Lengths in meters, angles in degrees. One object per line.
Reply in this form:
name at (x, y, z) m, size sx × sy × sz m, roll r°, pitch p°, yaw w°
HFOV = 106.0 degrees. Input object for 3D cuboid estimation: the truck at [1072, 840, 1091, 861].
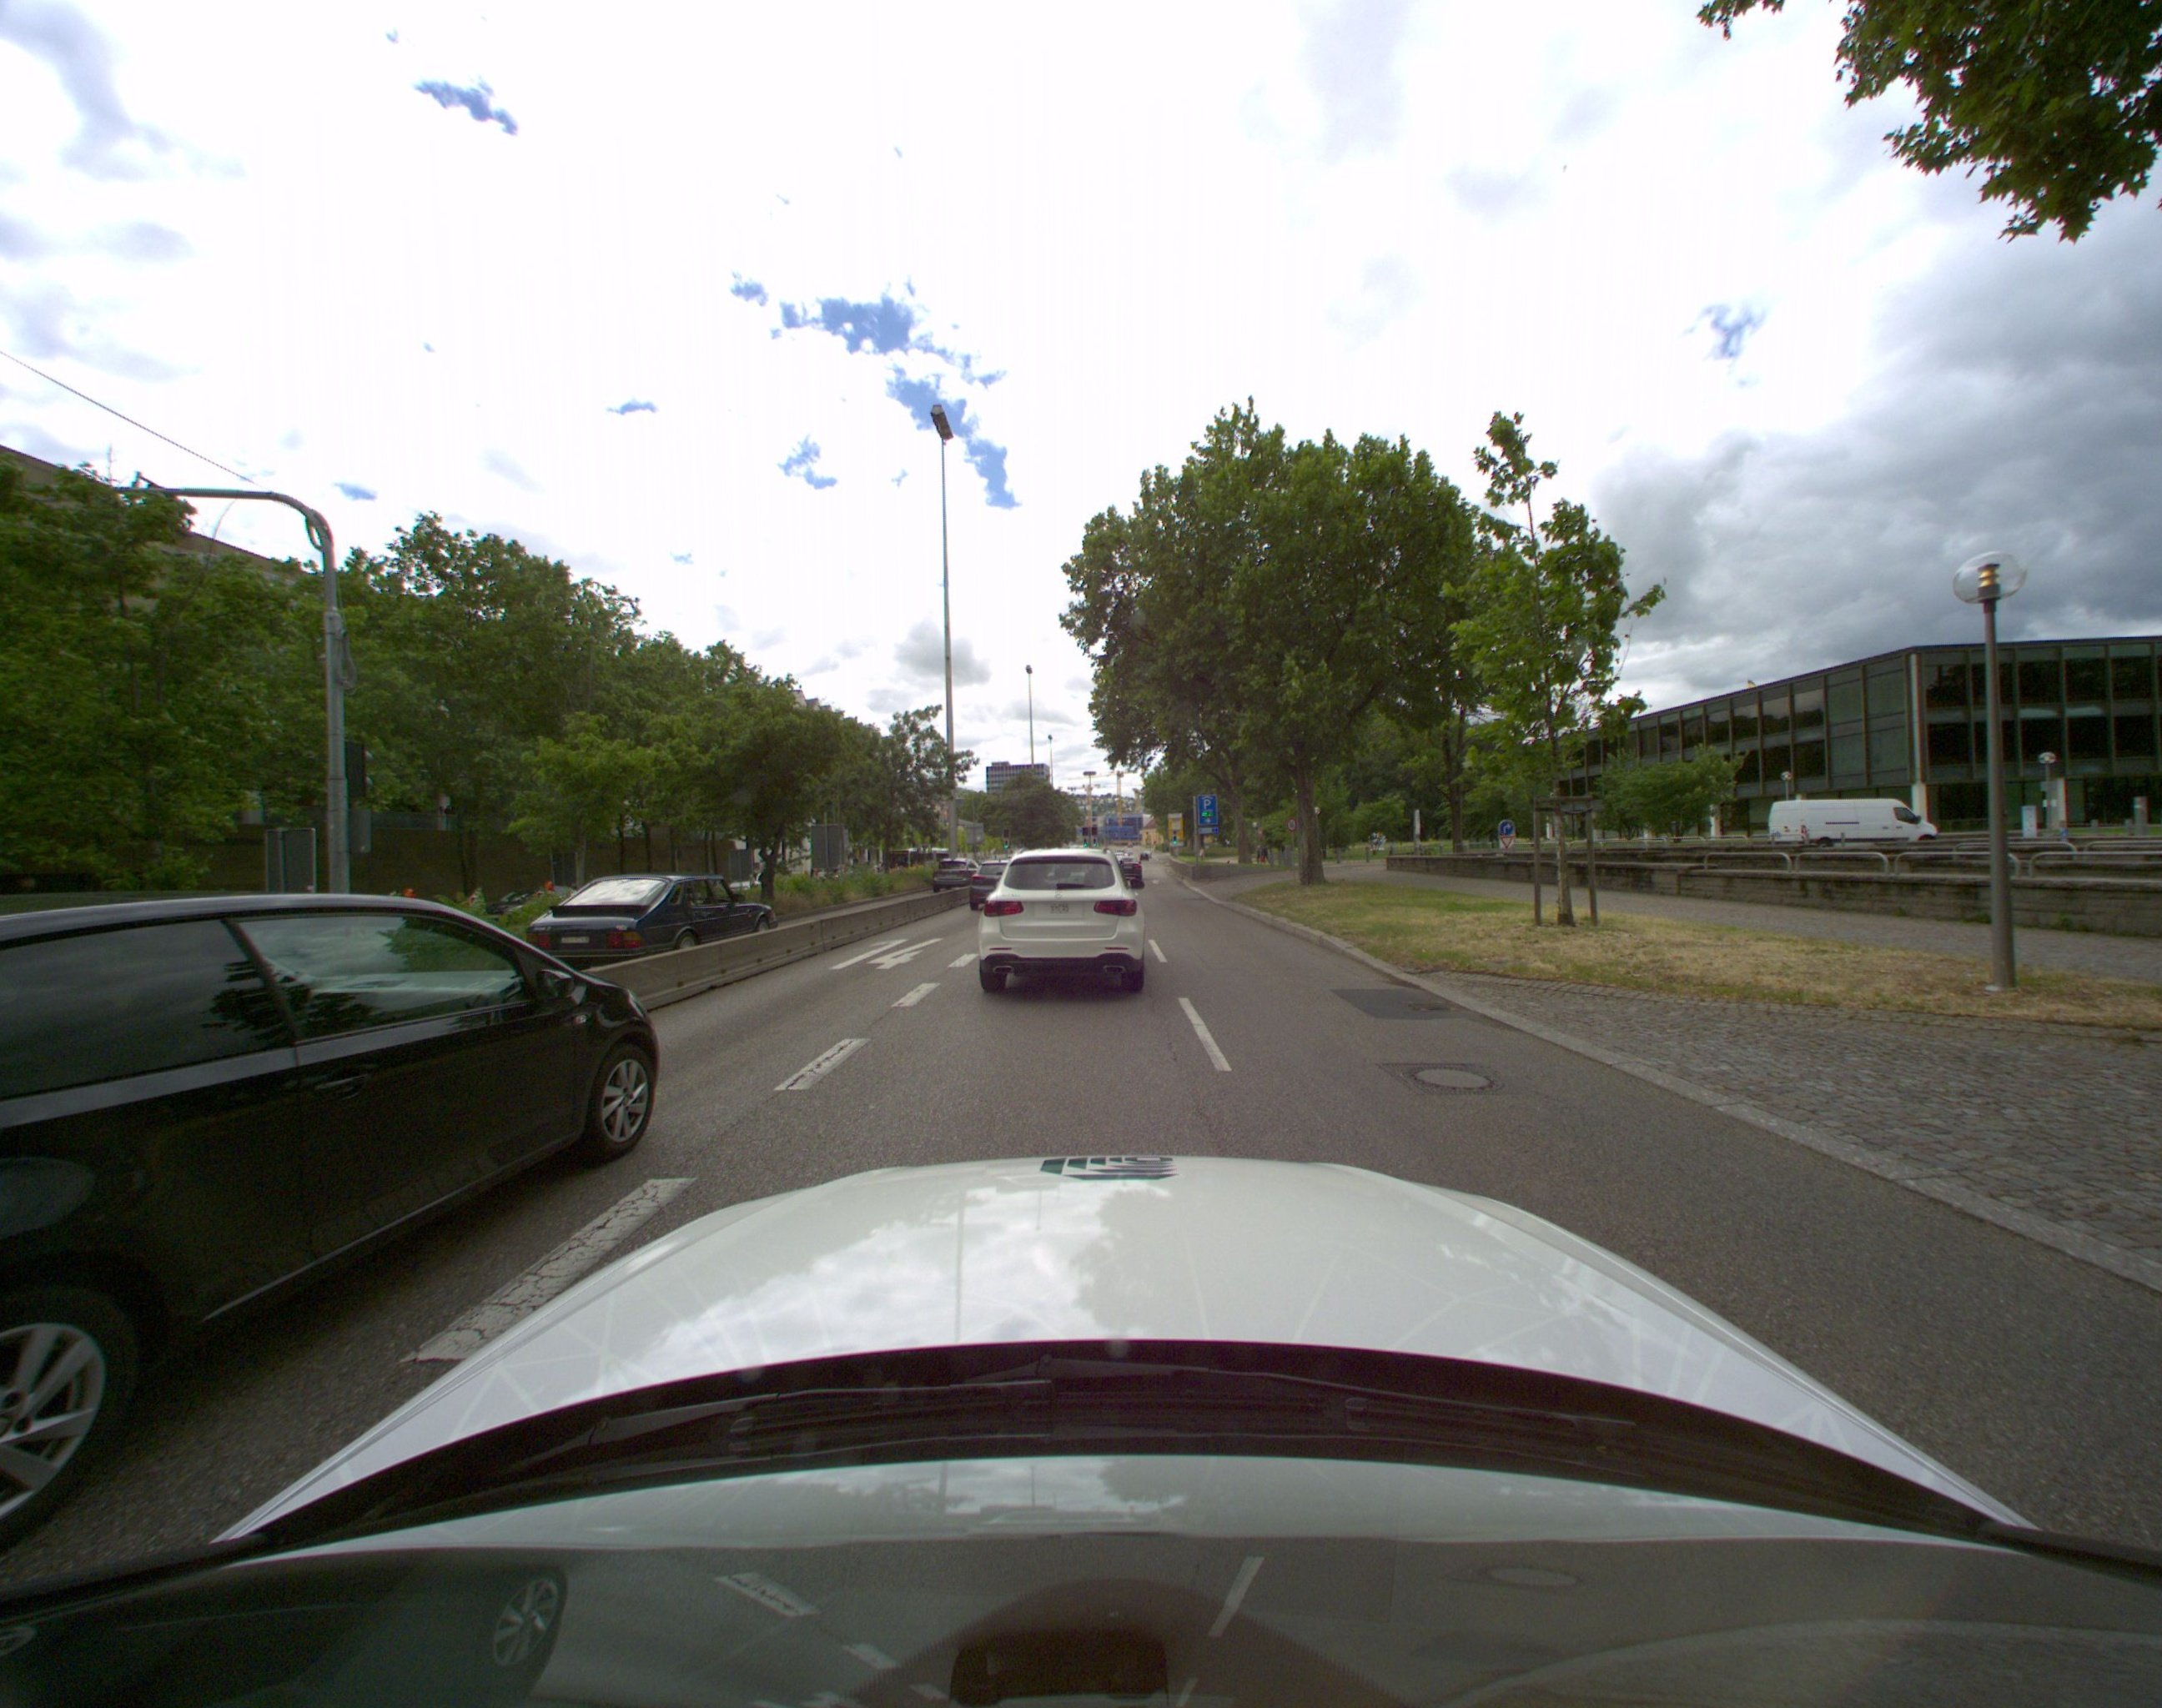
truck at (0.099, -0.511, 116.035) m, size 2.612 × 2.861 × 7.079 m, roll -1°, pitch 0°, yaw 1°

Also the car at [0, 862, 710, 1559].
car at (-3.097, 0.805, 3.063) m, size 1.602 × 1.473 × 3.624 m, roll -2°, pitch 0°, yaw 2°

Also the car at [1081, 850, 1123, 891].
car at (0.852, 0.679, 35.400) m, size 1.654 × 1.639 × 3.546 m, roll -2°, pitch 0°, yaw -1°

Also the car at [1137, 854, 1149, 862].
car at (11.041, 0.655, 145.732) m, size 1.939 × 1.428 × 4.019 m, roll -1°, pitch 0°, yaw 3°

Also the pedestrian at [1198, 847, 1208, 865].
pedestrian at (13.680, 0.225, 91.413) m, size 0.752 × 2.013 × 0.703 m, roll -2°, pitch 0°, yaw 38°

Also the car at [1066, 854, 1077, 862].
car at (-1.724, 0.685, 143.627) m, size 1.652 × 1.319 × 3.550 m, roll -1°, pitch 0°, yaw 3°

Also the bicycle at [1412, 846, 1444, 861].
bicycle at (22.396, -0.027, 52.678) m, size 0.950 × 0.975 × 2.788 m, roll 0°, pitch -1°, yaw 1°

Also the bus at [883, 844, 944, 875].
bus at (-19.370, 0.547, 95.278) m, size 3.653 × 3.205 × 14.279 m, roll -2°, pitch 0°, yaw 2°

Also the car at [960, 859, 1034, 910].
car at (-2.508, 0.884, 25.203) m, size 1.792 × 1.437 × 4.020 m, roll -1°, pitch 0°, yaw 0°

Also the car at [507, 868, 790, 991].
car at (-6.066, 0.954, 12.158) m, size 1.672 × 1.367 × 4.544 m, roll -2°, pitch 0°, yaw 1°

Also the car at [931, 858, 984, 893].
car at (-5.434, 0.914, 36.349) m, size 1.655 × 1.436 × 3.961 m, roll -1°, pitch -1°, yaw 1°

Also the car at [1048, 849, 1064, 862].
car at (-3.128, 0.168, 102.705) m, size 1.652 × 1.513 × 3.549 m, roll -2°, pitch 0°, yaw 2°

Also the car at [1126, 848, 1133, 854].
car at (13.663, -0.738, 229.076) m, size 1.752 × 1.669 × 4.170 m, roll -2°, pitch 0°, yaw 2°

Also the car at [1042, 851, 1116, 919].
car at (-0.127, 0.778, 22.298) m, size 1.792 × 1.608 × 3.751 m, roll -2°, pitch 0°, yaw -3°

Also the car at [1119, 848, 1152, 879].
car at (3.285, 0.569, 49.550) m, size 1.818 × 1.752 × 4.001 m, roll -2°, pitch 0°, yaw 1°

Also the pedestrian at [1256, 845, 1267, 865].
pedestrian at (14.742, 0.086, 66.540) m, size 0.662 × 1.611 × 0.637 m, roll -2°, pitch 0°, yaw -16°

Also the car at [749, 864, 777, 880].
car at (-41.451, 2.351, 106.254) m, size 1.986 × 1.915 × 4.001 m, roll -2°, pitch 0°, yaw 1°

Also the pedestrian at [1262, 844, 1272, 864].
pedestrian at (15.840, -0.014, 69.339) m, size 0.754 × 1.725 × 0.701 m, roll -2°, pitch 0°, yaw 9°

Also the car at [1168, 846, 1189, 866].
car at (10.230, 0.210, 85.655) m, size 1.985 × 2.014 × 4.003 m, roll -1°, pitch 0°, yaw 3°

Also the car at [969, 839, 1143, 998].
car at (-0.134, 0.676, 10.650) m, size 1.780 × 1.625 × 4.441 m, roll -1°, pitch 0°, yaw 3°

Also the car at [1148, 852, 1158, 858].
car at (15.501, 0.206, 176.141) m, size 1.939 × 1.319 × 4.019 m, roll -1°, pitch 0°, yaw 3°

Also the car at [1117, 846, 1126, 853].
car at (8.340, -0.979, 168.116) m, size 1.939 × 1.319 × 4.019 m, roll -1°, pitch 0°, yaw 3°

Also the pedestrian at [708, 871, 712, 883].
pedestrian at (-32.343, 2.020, 71.011) m, size 0.214 × 1.078 × 0.257 m, roll 0°, pitch -1°, yaw -16°

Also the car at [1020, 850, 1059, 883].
car at (-2.165, 0.657, 43.488) m, size 1.846 × 1.628 × 4.905 m, roll -1°, pitch -1°, yaw -1°

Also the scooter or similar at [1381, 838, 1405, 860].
scooter or similar at (17.927, -0.289, 46.824) m, size 0.633 × 1.245 × 2.228 m, roll 0°, pitch -1°, yaw 4°

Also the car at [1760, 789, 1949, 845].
car at (34.815, -1.620, 36.809) m, size 6.081 × 2.260 × 2.403 m, roll -2°, pitch 0°, yaw 3°

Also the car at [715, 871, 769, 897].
car at (-21.147, 1.854, 50.898) m, size 1.654 × 1.383 × 3.804 m, roll -2°, pitch 0°, yaw 1°

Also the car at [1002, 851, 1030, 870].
car at (-5.196, 0.533, 65.501) m, size 1.769 × 1.420 × 4.003 m, roll -2°, pitch 0°, yaw 3°
